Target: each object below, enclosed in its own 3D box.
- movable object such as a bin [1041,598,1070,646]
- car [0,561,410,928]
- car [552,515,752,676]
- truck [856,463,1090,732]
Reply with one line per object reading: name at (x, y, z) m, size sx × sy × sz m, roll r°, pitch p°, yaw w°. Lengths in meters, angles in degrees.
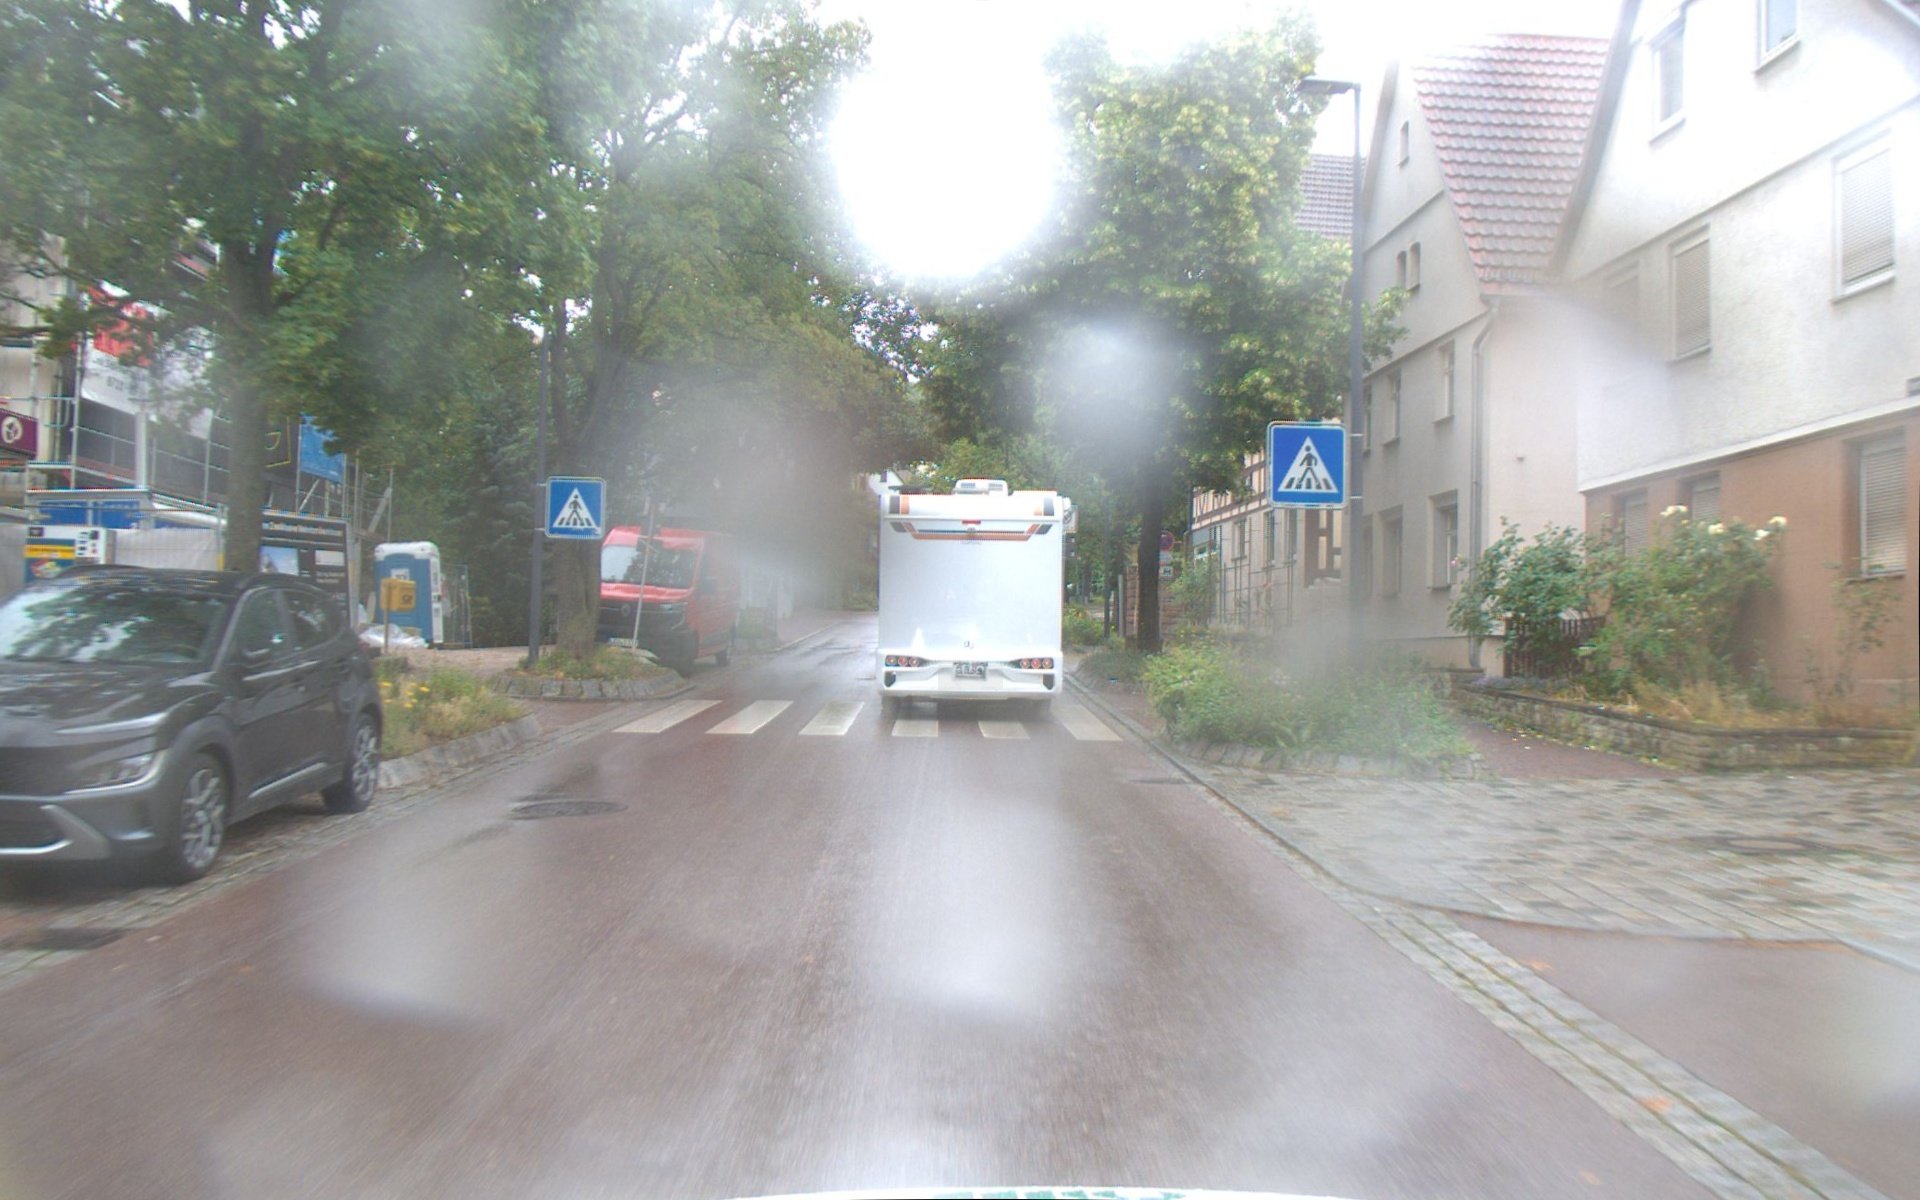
movable object such as a bin at (2.541, 0.579, 43.931) m, size 0.706 × 1.234 × 0.727 m, roll 1°, pitch 0°, yaw 0°
car at (-4.665, 0.612, 9.369) m, size 1.736 × 1.580 × 3.999 m, roll 3°, pitch 0°, yaw -1°
car at (-5.326, -0.117, 29.541) m, size 2.256 × 2.526 × 5.786 m, roll 1°, pitch 1°, yaw 2°
truck at (0.112, -0.010, 22.211) m, size 2.640 × 3.038 × 6.235 m, roll 1°, pitch 0°, yaw -1°
